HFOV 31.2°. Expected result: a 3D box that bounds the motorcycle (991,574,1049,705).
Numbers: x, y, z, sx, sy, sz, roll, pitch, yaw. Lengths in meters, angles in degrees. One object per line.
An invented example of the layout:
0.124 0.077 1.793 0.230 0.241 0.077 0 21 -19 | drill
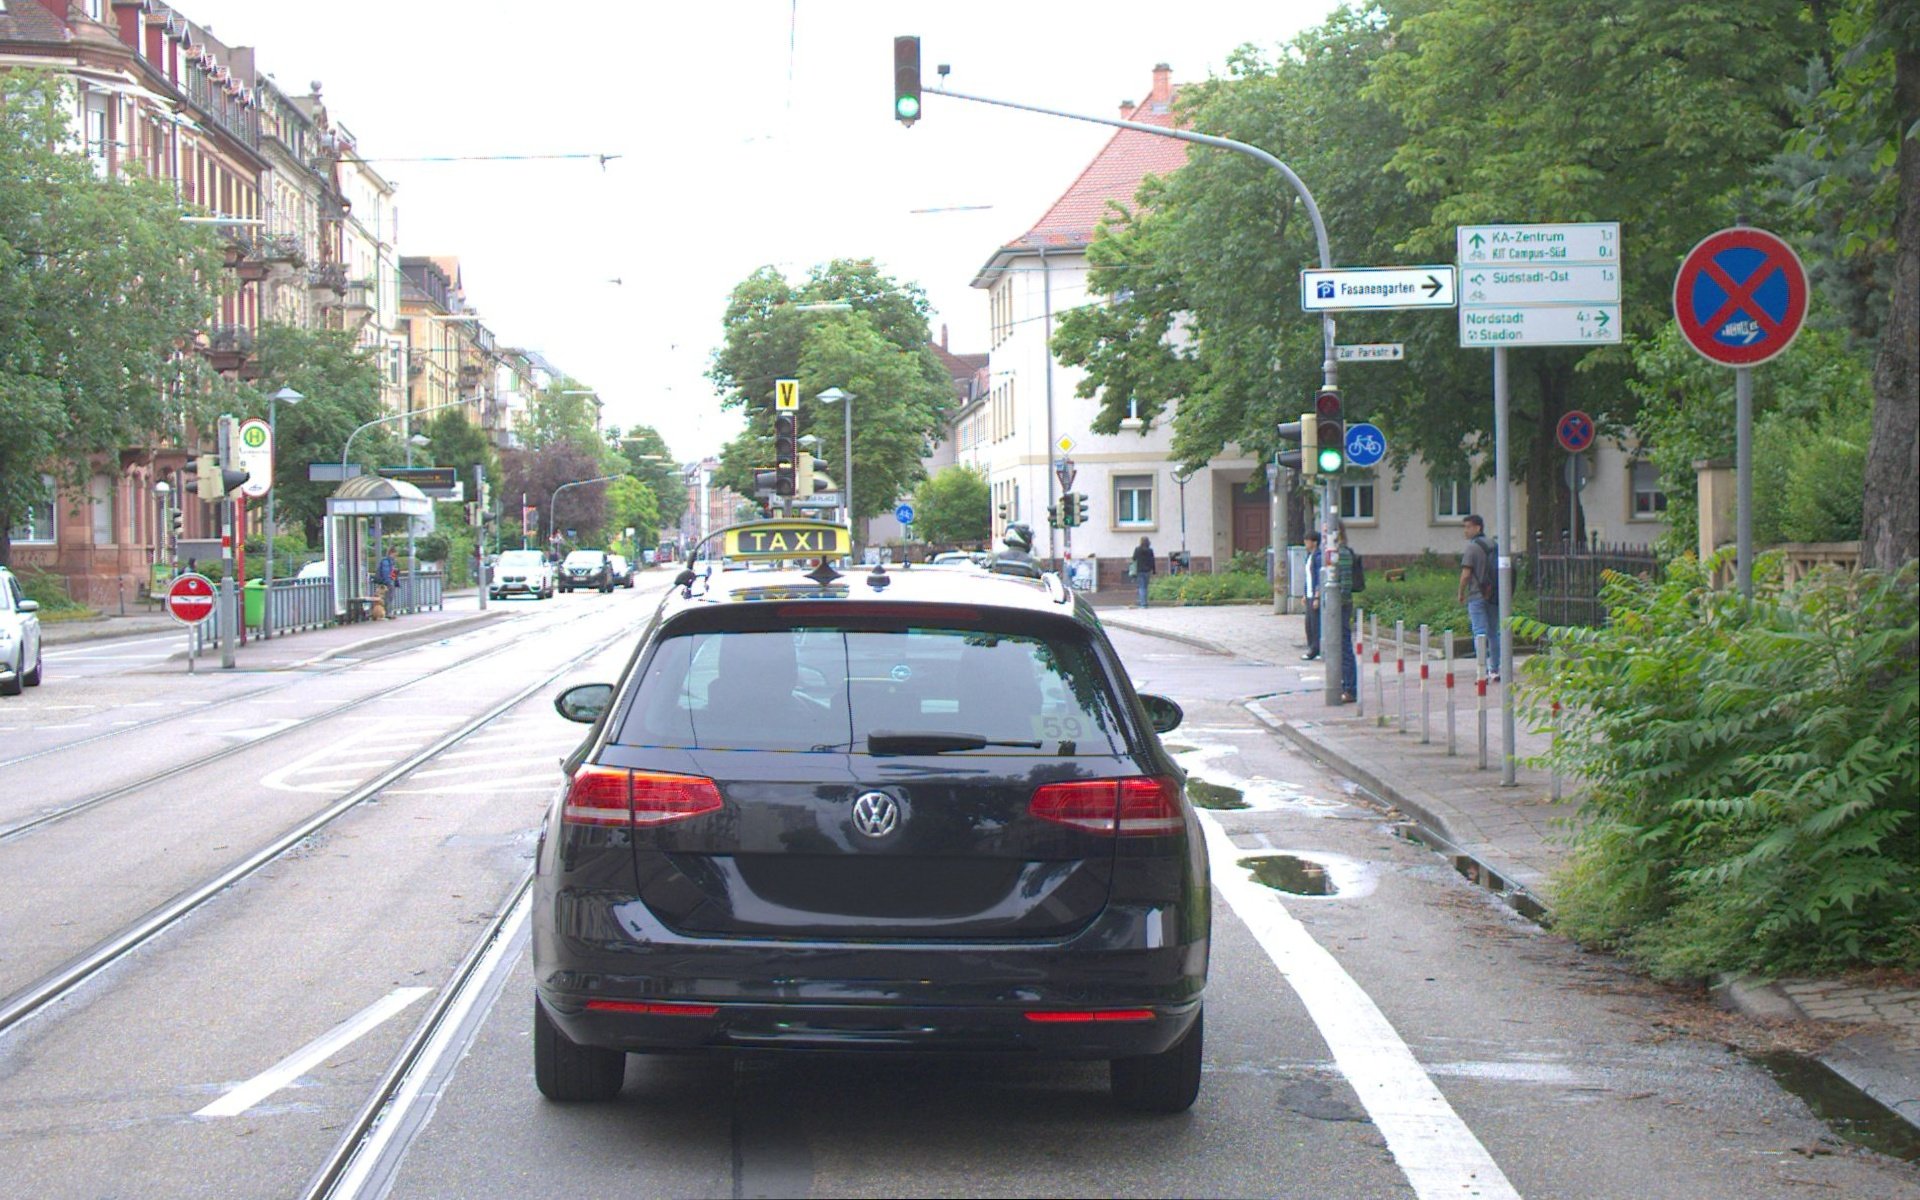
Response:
0.597 0.371 33.800 0.446 1.231 1.906 -1 1 4 | motorcycle

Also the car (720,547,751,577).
-15.265 -2.590 233.880 2.032 2.007 4.000 0 0 -3 | car

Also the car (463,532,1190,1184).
-0.415 0.576 10.165 1.723 1.541 4.001 0 1 -3 | car

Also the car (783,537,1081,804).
-0.263 0.373 21.916 1.723 1.541 4.001 0 1 -3 | car

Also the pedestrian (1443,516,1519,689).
5.526 0.021 36.483 0.632 1.808 0.726 -1 1 -5 | pedestrian

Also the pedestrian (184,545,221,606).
-18.957 -0.622 86.056 0.589 1.515 0.648 0 1 33 | pedestrian

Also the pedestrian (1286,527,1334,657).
4.998 -0.120 49.089 0.514 1.824 0.418 -4 1 -2 | pedestrian

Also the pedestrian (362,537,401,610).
-12.105 -0.549 71.946 0.714 1.515 0.590 -1 1 -1 | pedestrian

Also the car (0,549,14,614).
-25.556 -0.427 84.875 3.853 1.617 1.726 -2 1 -42 | car

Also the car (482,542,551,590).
-14.804 -1.148 114.991 1.795 1.590 4.000 0 1 0 | car

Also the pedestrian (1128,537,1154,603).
4.301 -0.714 81.618 0.581 1.548 0.609 0 1 0 | pedestrian

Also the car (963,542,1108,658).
1.005 -0.031 47.832 1.723 1.541 4.001 0 1 -3 | car

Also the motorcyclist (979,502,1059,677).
0.585 -0.107 33.785 0.703 1.686 0.804 -1 1 5 | motorcyclist

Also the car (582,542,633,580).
-15.303 -1.695 149.407 1.795 1.590 4.000 -1 1 0 | car

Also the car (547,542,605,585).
-14.755 -1.409 132.186 1.795 1.590 4.000 -1 1 0 | car

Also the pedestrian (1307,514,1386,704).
3.807 0.087 33.932 0.585 1.824 0.604 -4 1 -2 | pedestrian

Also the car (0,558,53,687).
-11.680 0.251 39.928 1.688 1.406 4.001 -2 1 -8 | car
